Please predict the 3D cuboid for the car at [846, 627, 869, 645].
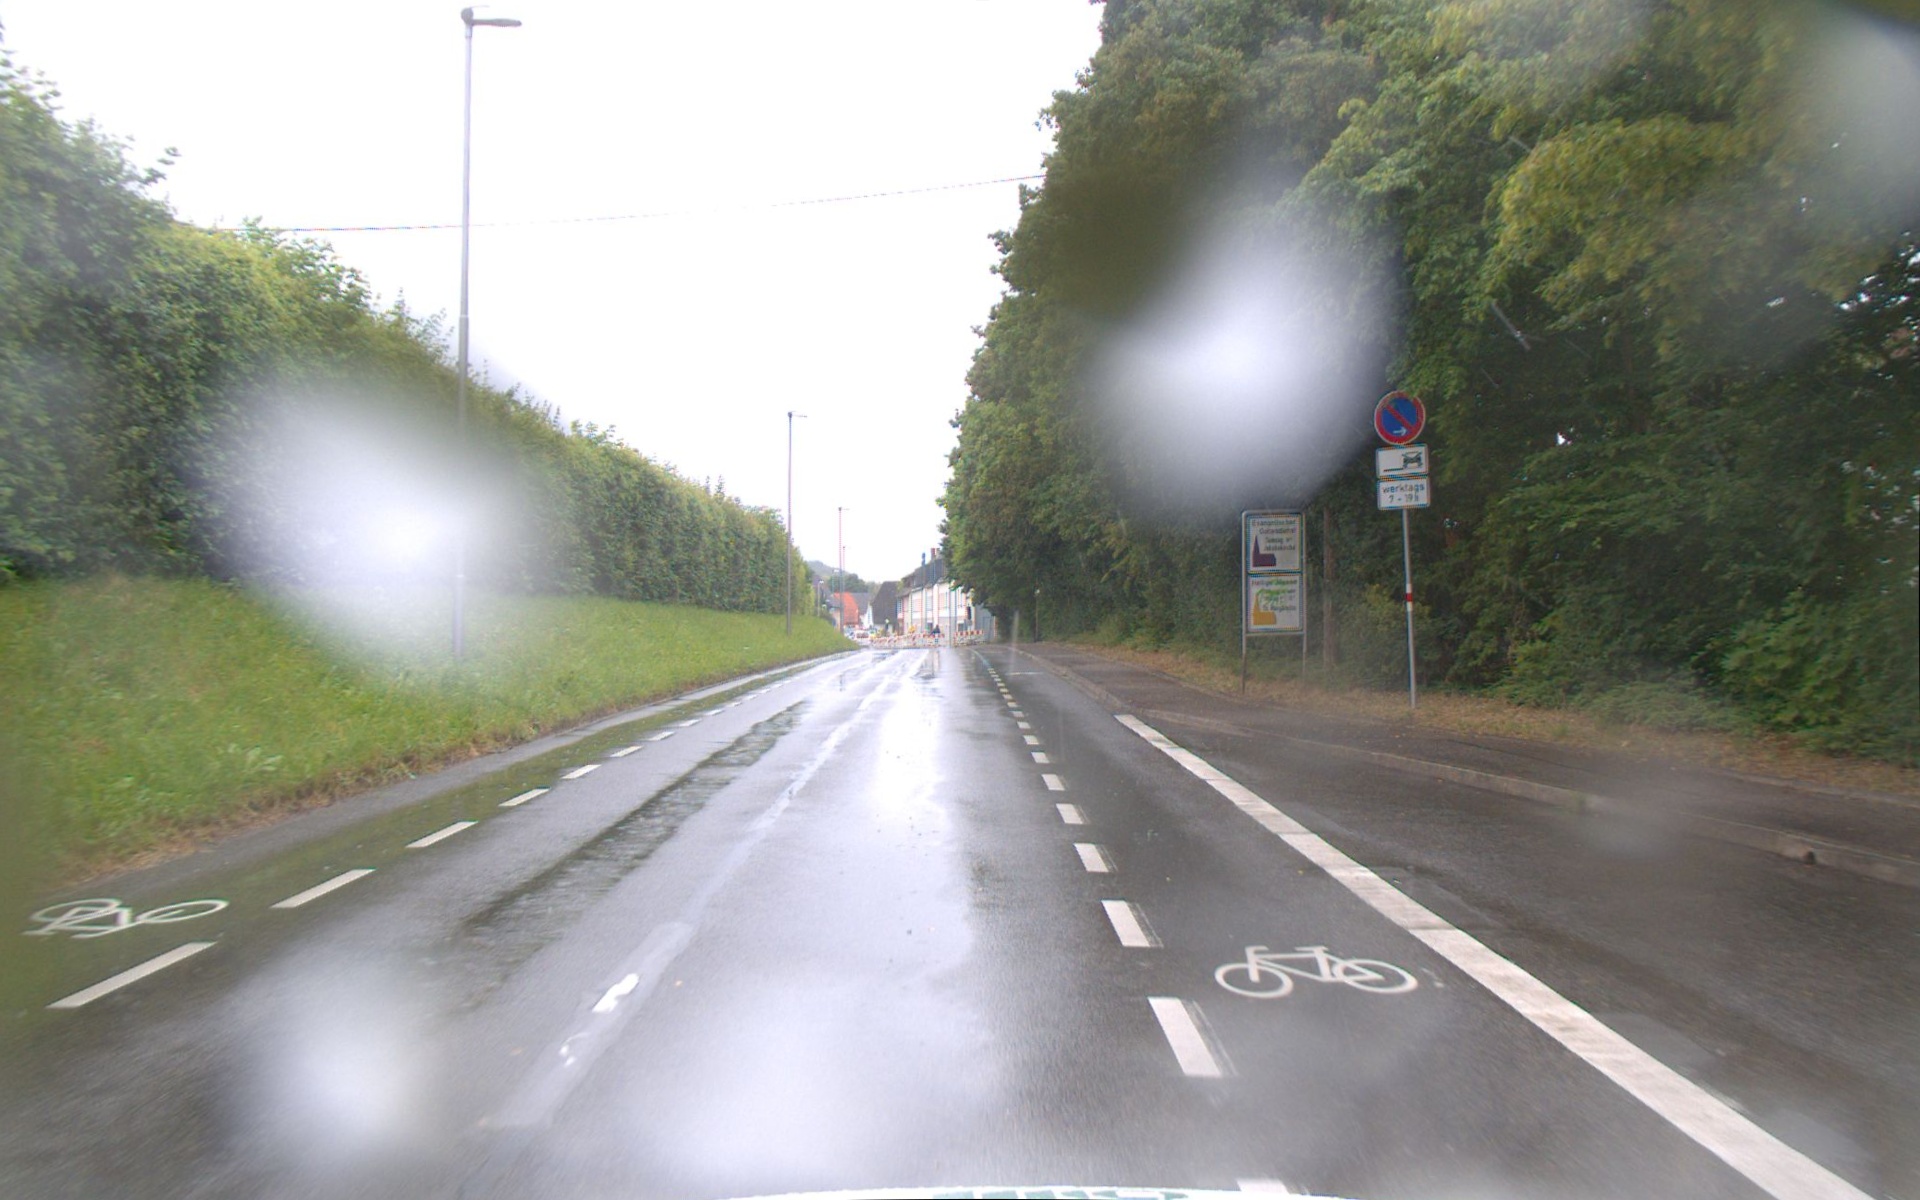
[{"bbox_3d":[-10.324,3.626,166.366,1.957,1.639,3.991,2,0,-10],"label":"car"}]
